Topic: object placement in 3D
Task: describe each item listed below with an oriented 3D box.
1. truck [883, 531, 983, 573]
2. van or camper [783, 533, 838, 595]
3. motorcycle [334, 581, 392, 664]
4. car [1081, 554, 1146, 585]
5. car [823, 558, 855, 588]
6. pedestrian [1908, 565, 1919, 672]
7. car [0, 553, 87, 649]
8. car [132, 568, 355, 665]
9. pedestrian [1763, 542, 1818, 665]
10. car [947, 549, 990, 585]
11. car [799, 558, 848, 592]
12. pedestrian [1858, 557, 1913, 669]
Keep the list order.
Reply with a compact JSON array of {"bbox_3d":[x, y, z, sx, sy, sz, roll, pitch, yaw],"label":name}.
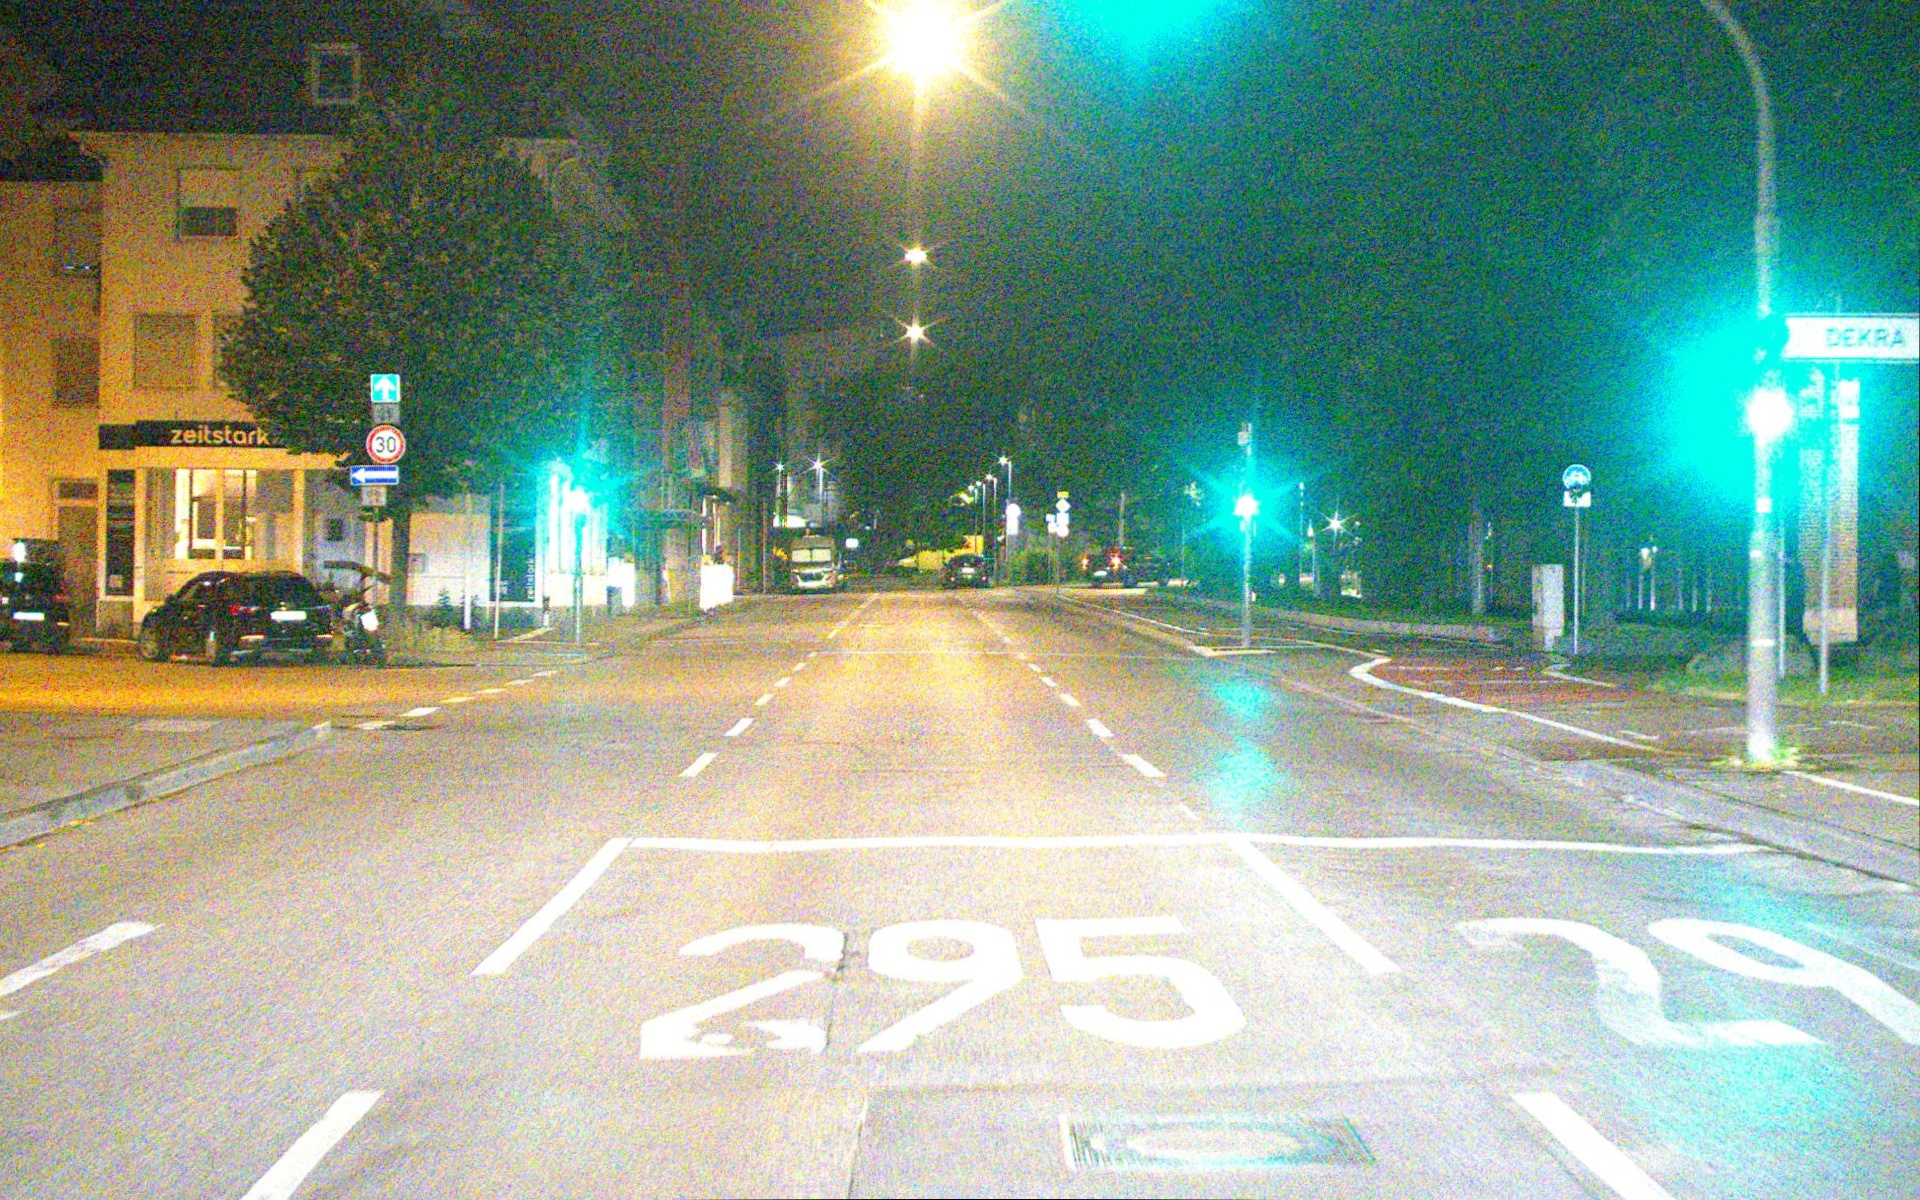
[{"bbox_3d":[-1.894,-3.319,236.883,6.775,2.835,2.000,1,1,-3],"label":"truck"},{"bbox_3d":[-6.454,-1.552,148.873,2.158,2.527,6.227,-2,0,-1],"label":"van or camper"},{"bbox_3d":[-8.773,0.316,50.467,0.571,1.176,2.033,0,1,-18],"label":"motorcycle"},{"bbox_3d":[6.907,-1.371,154.530,1.665,1.338,3.620,0,0,26],"label":"car"},{"bbox_3d":[-6.620,-1.477,187.980,1.677,1.561,4.105,0,0,-1],"label":"car"},{"bbox_3d":[14.041,0.261,49.534,0.572,1.528,0.633,0,0,0],"label":"pedestrian"},{"bbox_3d":[-17.415,0.006,62.563,1.913,1.639,4.111,3,-1,-29],"label":"car"},{"bbox_3d":[-11.251,0.240,53.778,1.886,1.419,4.729,-1,1,-32],"label":"car"},{"bbox_3d":[12.285,0.050,50.888,0.621,1.805,0.759,0,0,0],"label":"pedestrian"},{"bbox_3d":[0.422,-1.516,159.282,1.884,1.597,4.107,-2,0,1],"label":"car"},{"bbox_3d":[-6.380,-1.156,159.770,1.838,1.502,4.743,-1,0,-7],"label":"car"},{"bbox_3d":[13.579,0.189,50.443,0.621,1.633,0.679,0,0,0],"label":"pedestrian"}]
